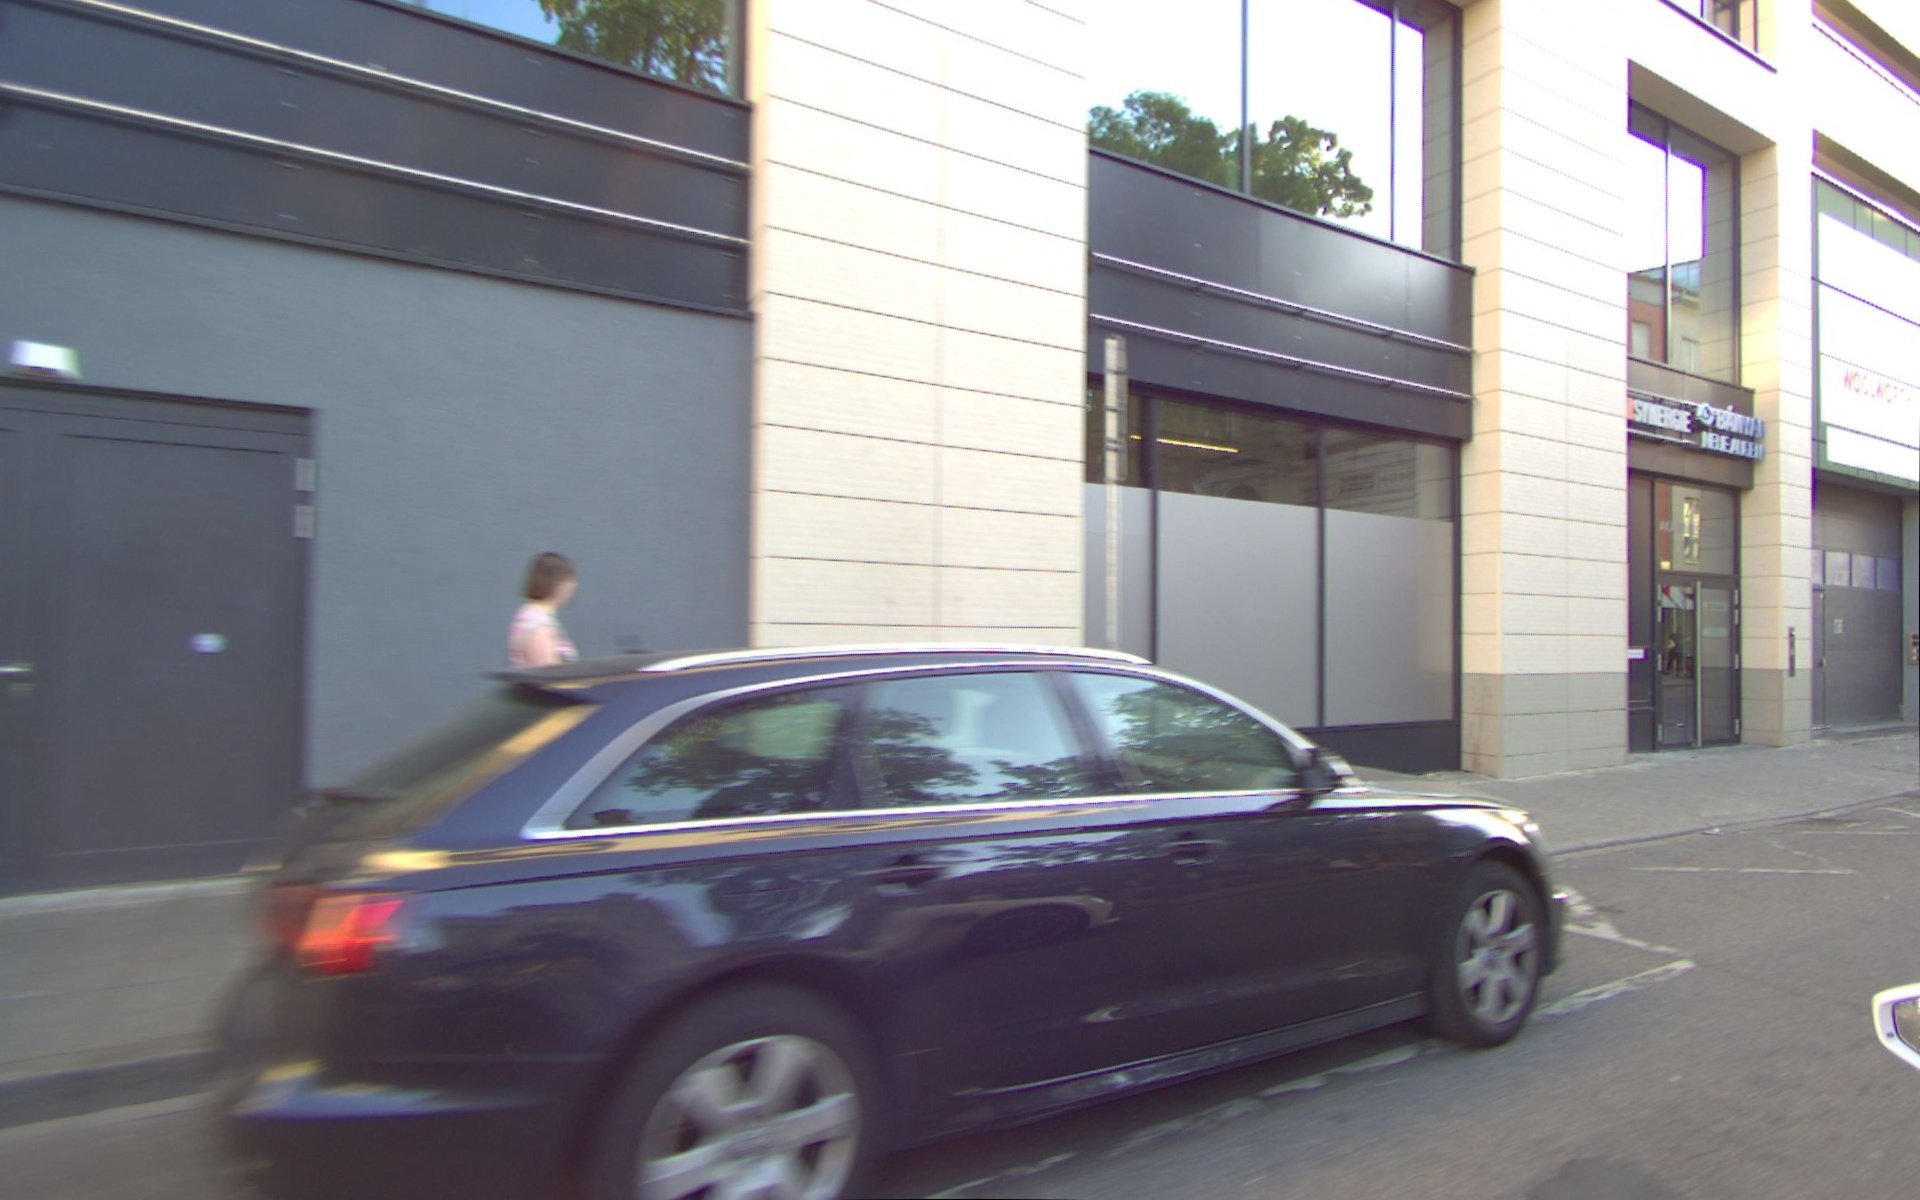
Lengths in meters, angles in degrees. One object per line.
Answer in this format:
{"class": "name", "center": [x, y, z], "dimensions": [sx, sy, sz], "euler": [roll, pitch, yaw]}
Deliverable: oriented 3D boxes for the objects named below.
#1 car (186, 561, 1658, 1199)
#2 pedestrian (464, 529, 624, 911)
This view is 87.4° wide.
{"class": "car", "center": [0.273, 0.822, 3.675], "dimensions": [4.631, 1.619, 1.876], "euler": [2, -2, -28]}
{"class": "pedestrian", "center": [-2.126, 0.569, 5.117], "dimensions": [0.640, 1.767, 0.669], "euler": [2, -2, -30]}
